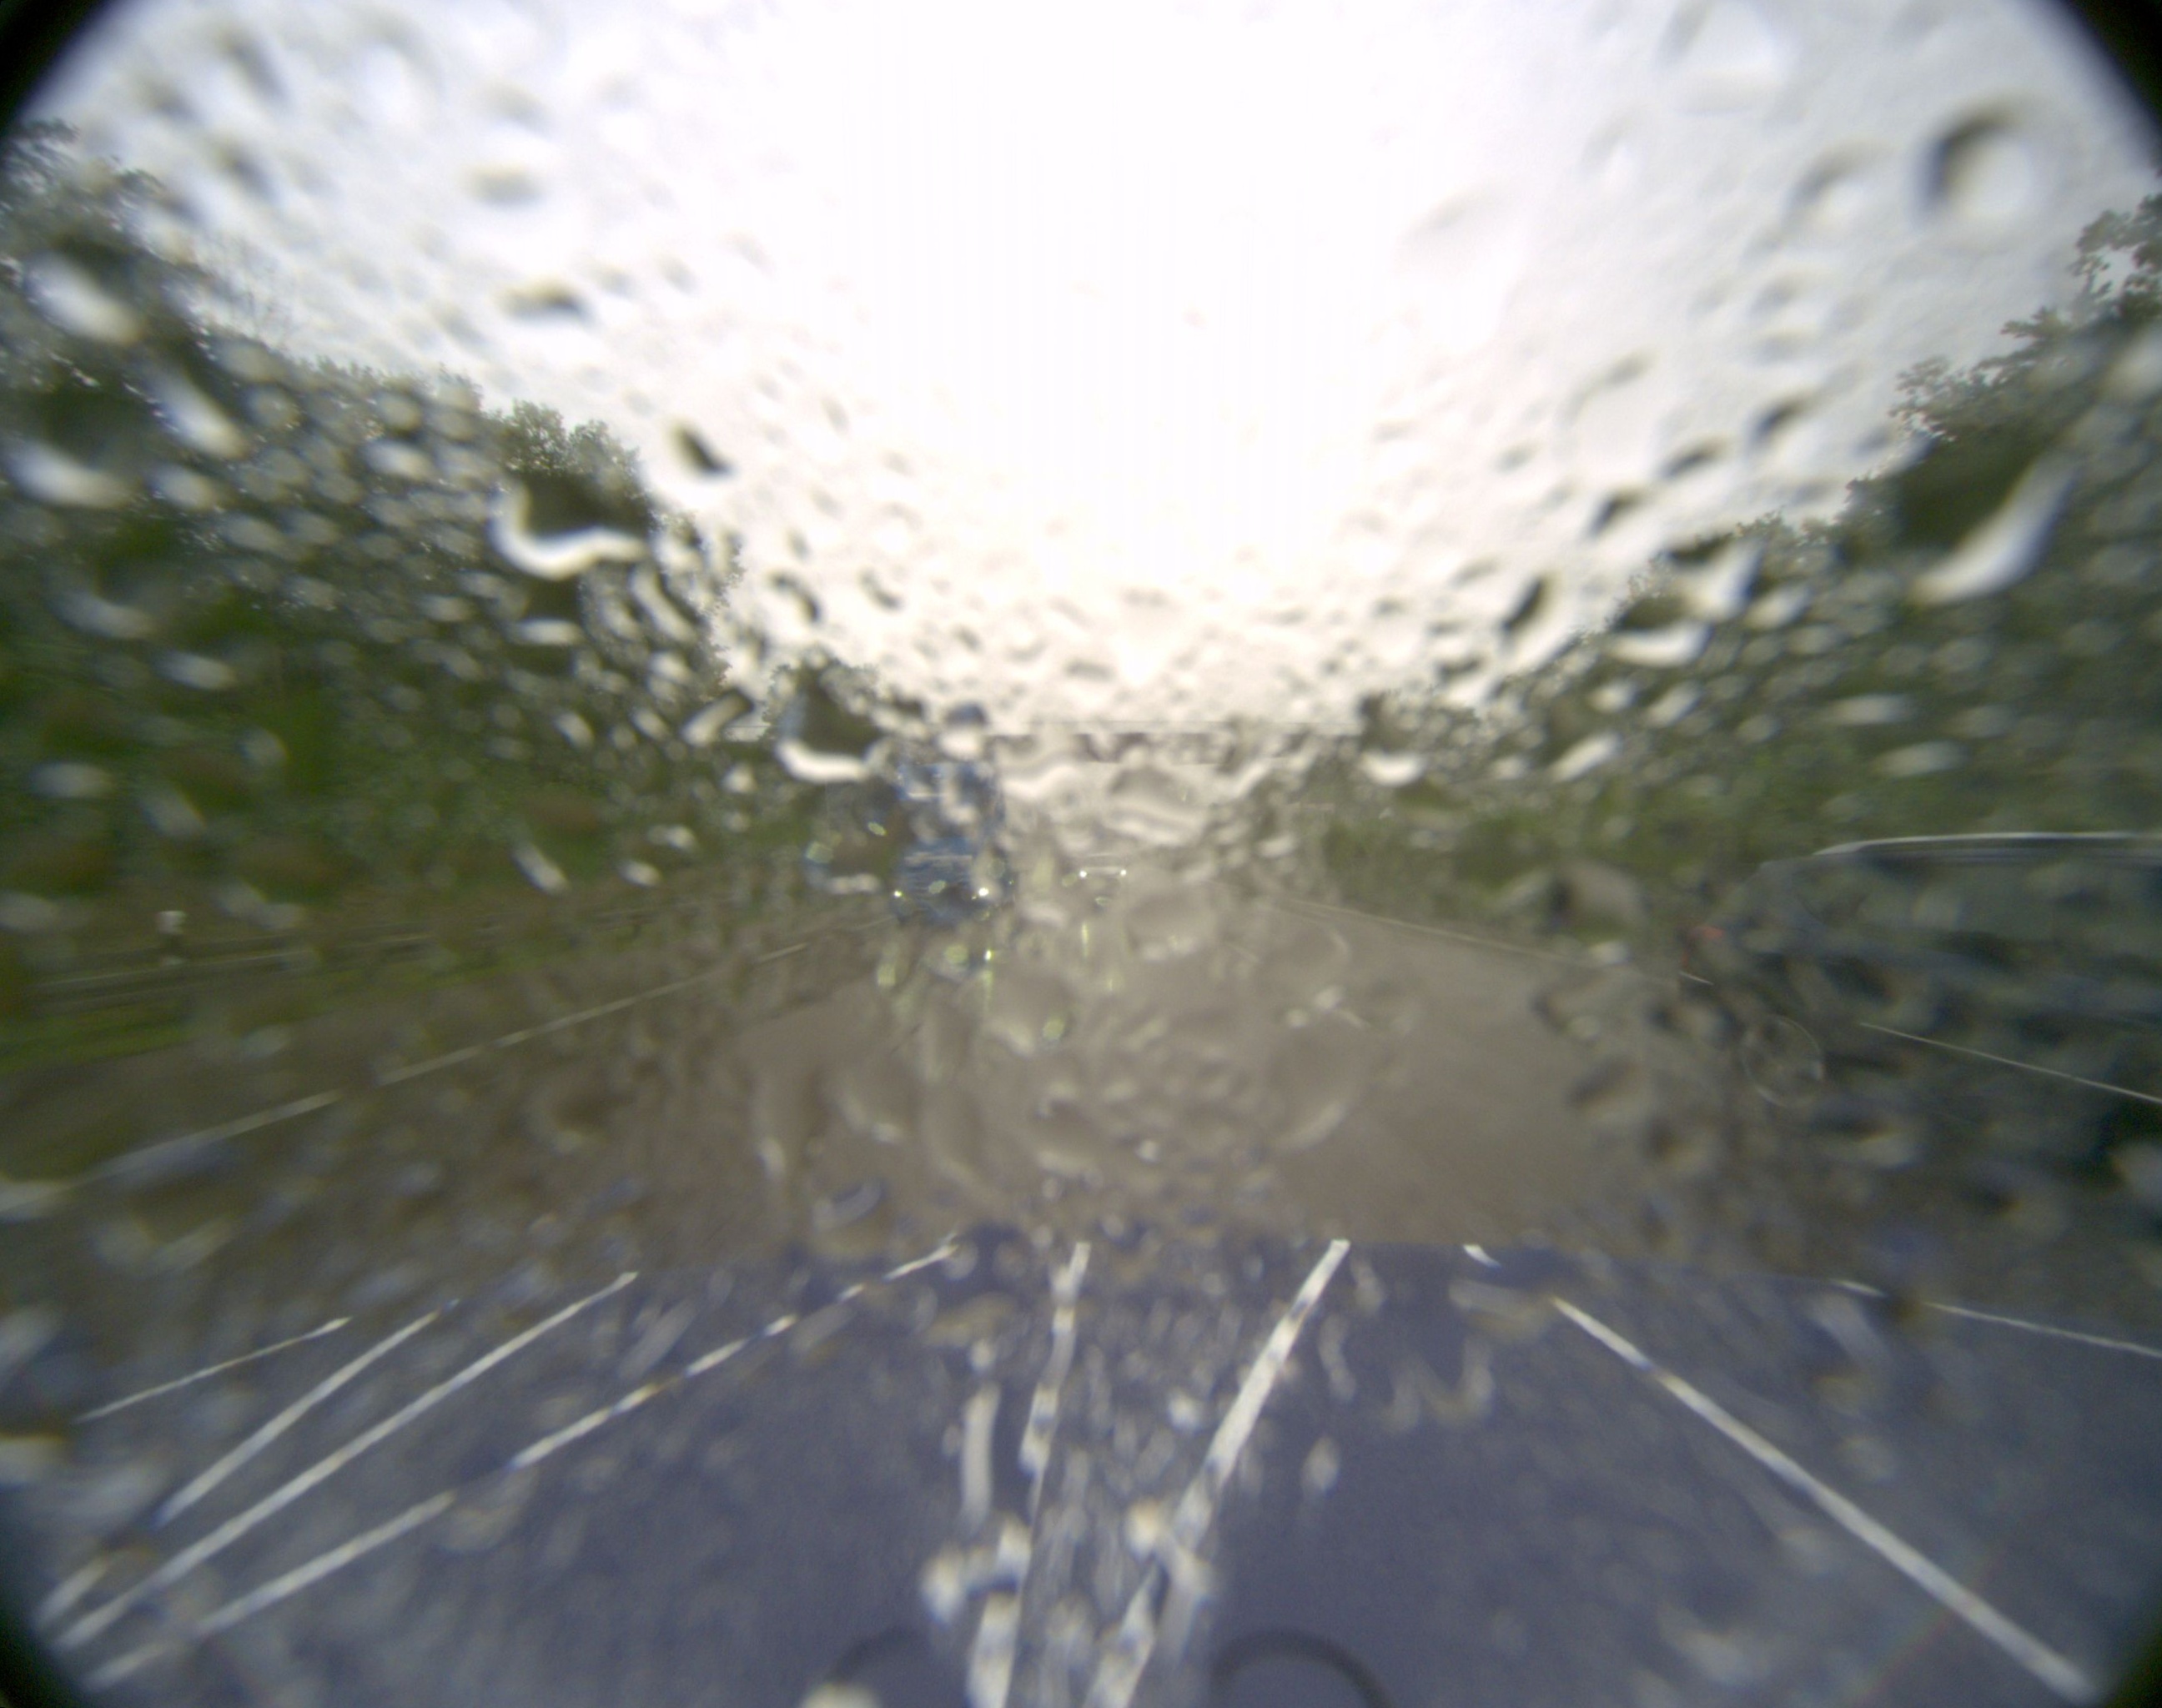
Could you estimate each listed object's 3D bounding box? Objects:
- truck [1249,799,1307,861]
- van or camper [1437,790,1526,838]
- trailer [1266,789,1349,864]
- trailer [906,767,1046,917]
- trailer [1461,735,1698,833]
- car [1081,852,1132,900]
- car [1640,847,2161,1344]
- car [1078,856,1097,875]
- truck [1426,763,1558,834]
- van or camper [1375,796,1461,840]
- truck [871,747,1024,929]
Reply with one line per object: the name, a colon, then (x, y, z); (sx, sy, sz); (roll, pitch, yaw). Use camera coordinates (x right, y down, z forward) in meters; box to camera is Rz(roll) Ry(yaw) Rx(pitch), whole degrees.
truck: (18.317, -2.146, 71.151); (3.441, 5.427, 7.714); (-2, 1, 1)
van or camper: (17.382, -1.661, 33.208); (1.503, 1.840, 4.505); (-2, 0, 0)
trailer: (18.178, -2.066, 62.013); (3.436, 5.426, 11.546); (-2, 0, 1)
trailer: (-3.172, -0.413, 27.727); (2.751, 3.941, 14.127); (-2, 1, 1)
trailer: (21.999, -2.842, 34.922); (3.436, 3.364, 11.546); (-2, 0, 1)
car: (0.931, 0.773, 28.990); (1.752, 1.546, 4.089); (-2, 1, 0)
car: (4.410, 0.772, 2.021); (2.059, 1.477, 5.157); (-2, 1, 1)
car: (0.653, 1.153, 78.034); (1.850, 1.703, 3.999); (-2, 1, 1)
truck: (22.104, -2.867, 41.451); (3.344, 3.251, 7.173); (-2, 0, 1)
van or camper: (17.487, -1.791, 39.822); (1.990, 2.002, 5.895); (-2, 0, 1)
truck: (-3.296, -0.404, 20.601); (2.755, 4.055, 6.482); (-2, 1, 1)
